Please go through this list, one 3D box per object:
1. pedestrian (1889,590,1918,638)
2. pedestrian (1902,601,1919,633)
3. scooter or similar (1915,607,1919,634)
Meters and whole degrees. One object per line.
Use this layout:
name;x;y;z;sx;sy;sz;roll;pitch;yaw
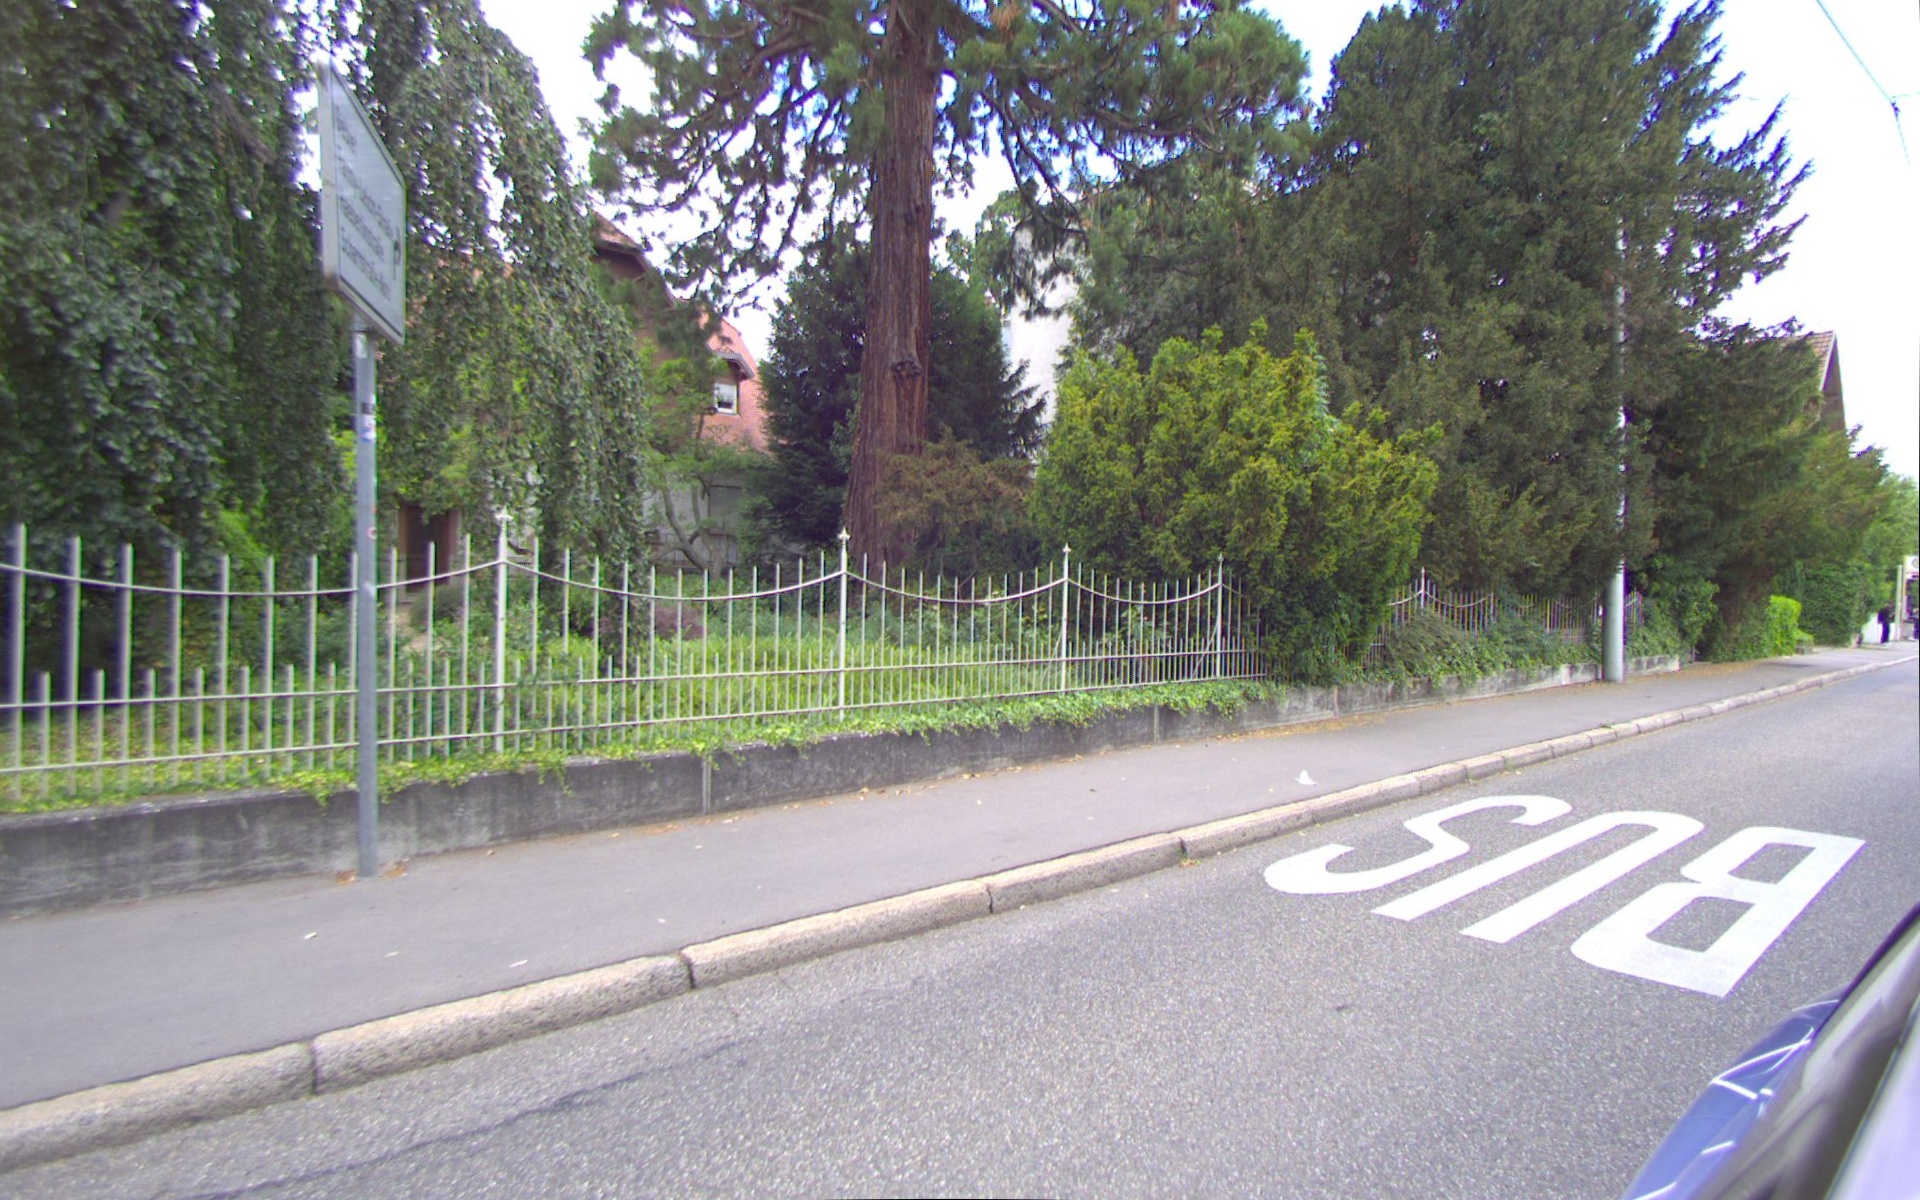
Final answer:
pedestrian;35.240;0.511;37.785;0.657;1.789;0.491;0;0;-9
pedestrian;39.935;0.706;42.182;0.914;1.266;0.777;6;4;44
scooter or similar;40.904;0.903;42.575;0.842;1.110;0.479;4;3;2
